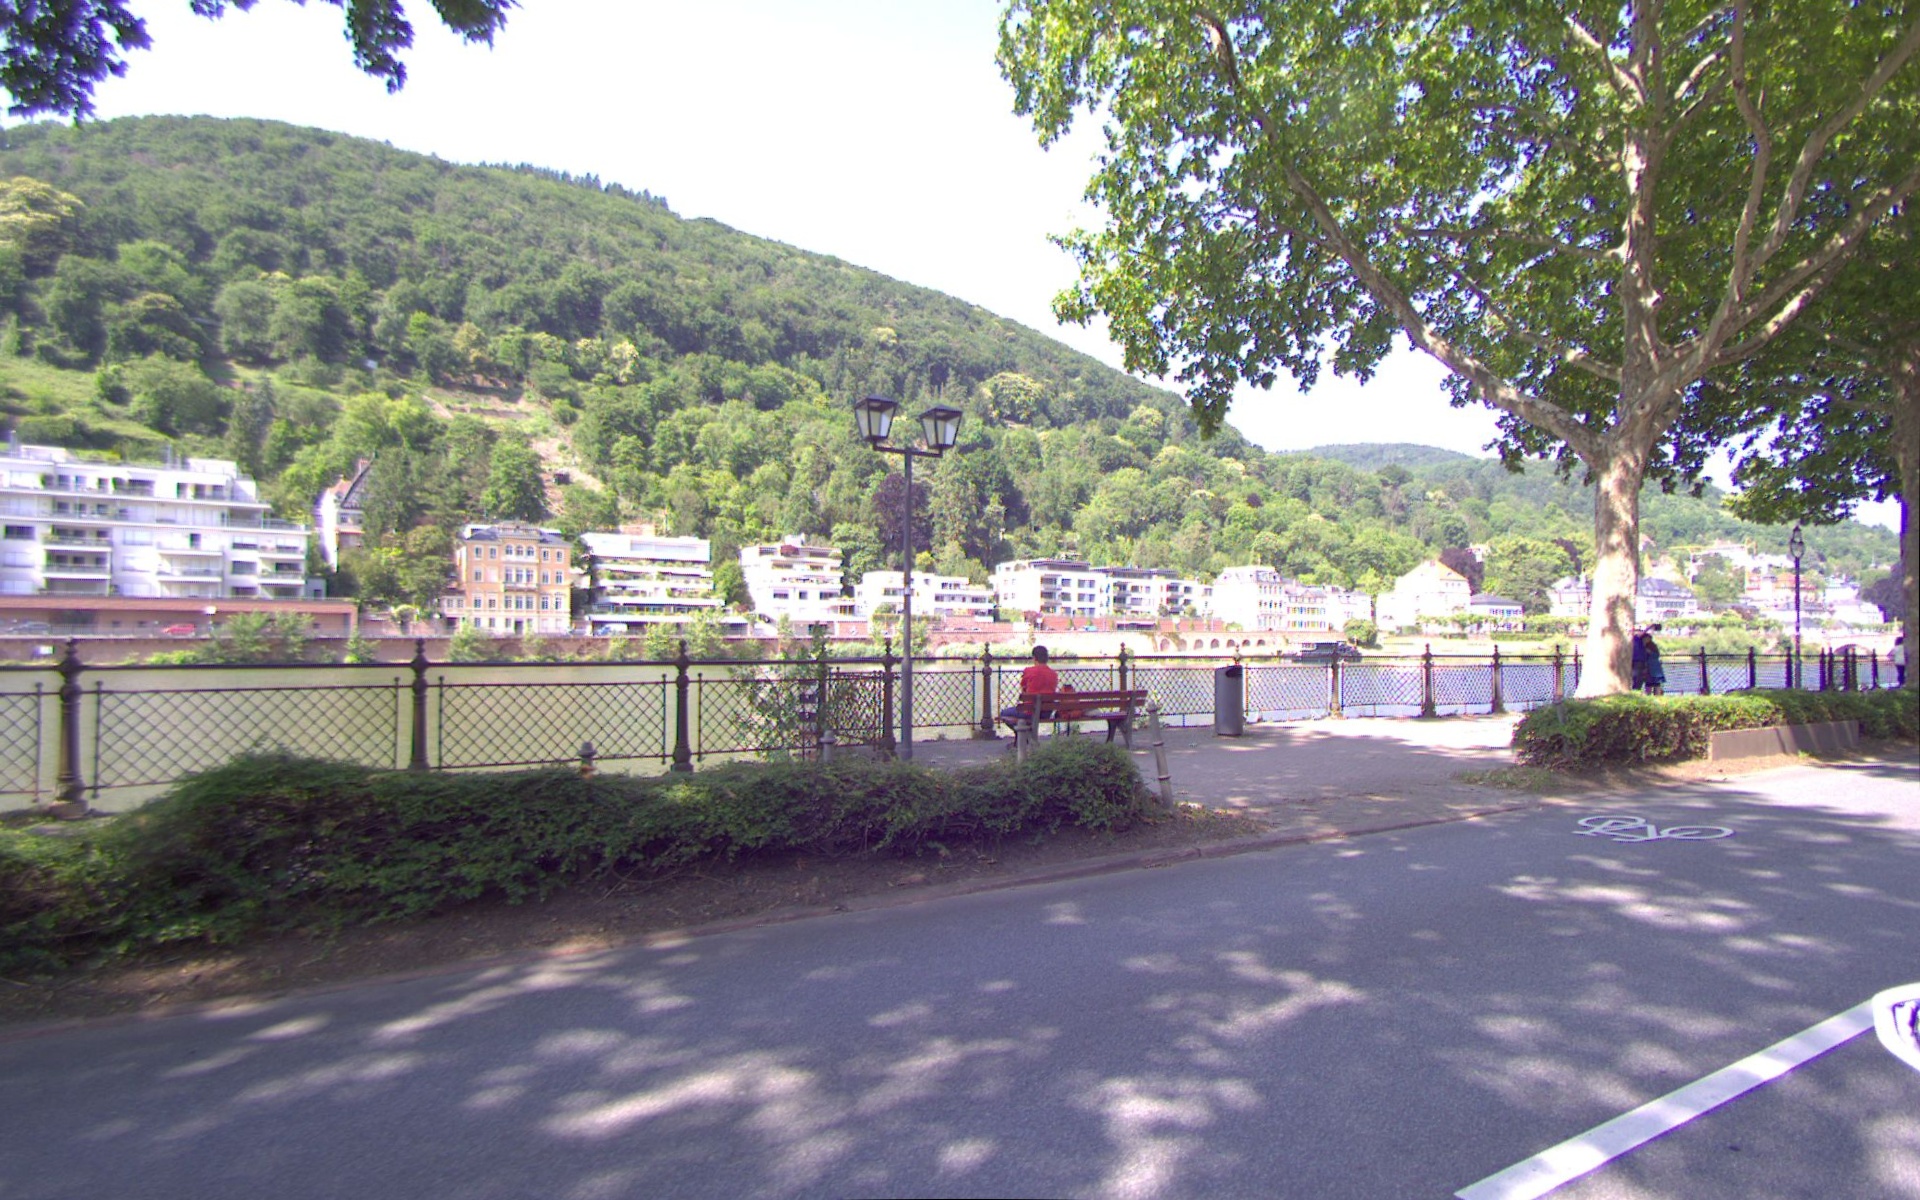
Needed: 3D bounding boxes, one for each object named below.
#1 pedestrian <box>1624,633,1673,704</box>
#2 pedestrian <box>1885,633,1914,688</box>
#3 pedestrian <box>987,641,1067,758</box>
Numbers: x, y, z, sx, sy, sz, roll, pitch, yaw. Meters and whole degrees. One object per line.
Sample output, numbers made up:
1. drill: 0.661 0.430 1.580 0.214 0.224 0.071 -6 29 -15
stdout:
1. pedestrian: 16.039 1.586 23.401 0.696 1.624 0.701 2 -2 -29
2. pedestrian: 30.782 1.973 32.910 0.399 1.733 0.581 2 0 -32
3. pedestrian: 0.796 1.178 12.093 0.649 1.325 0.699 2 0 -30
